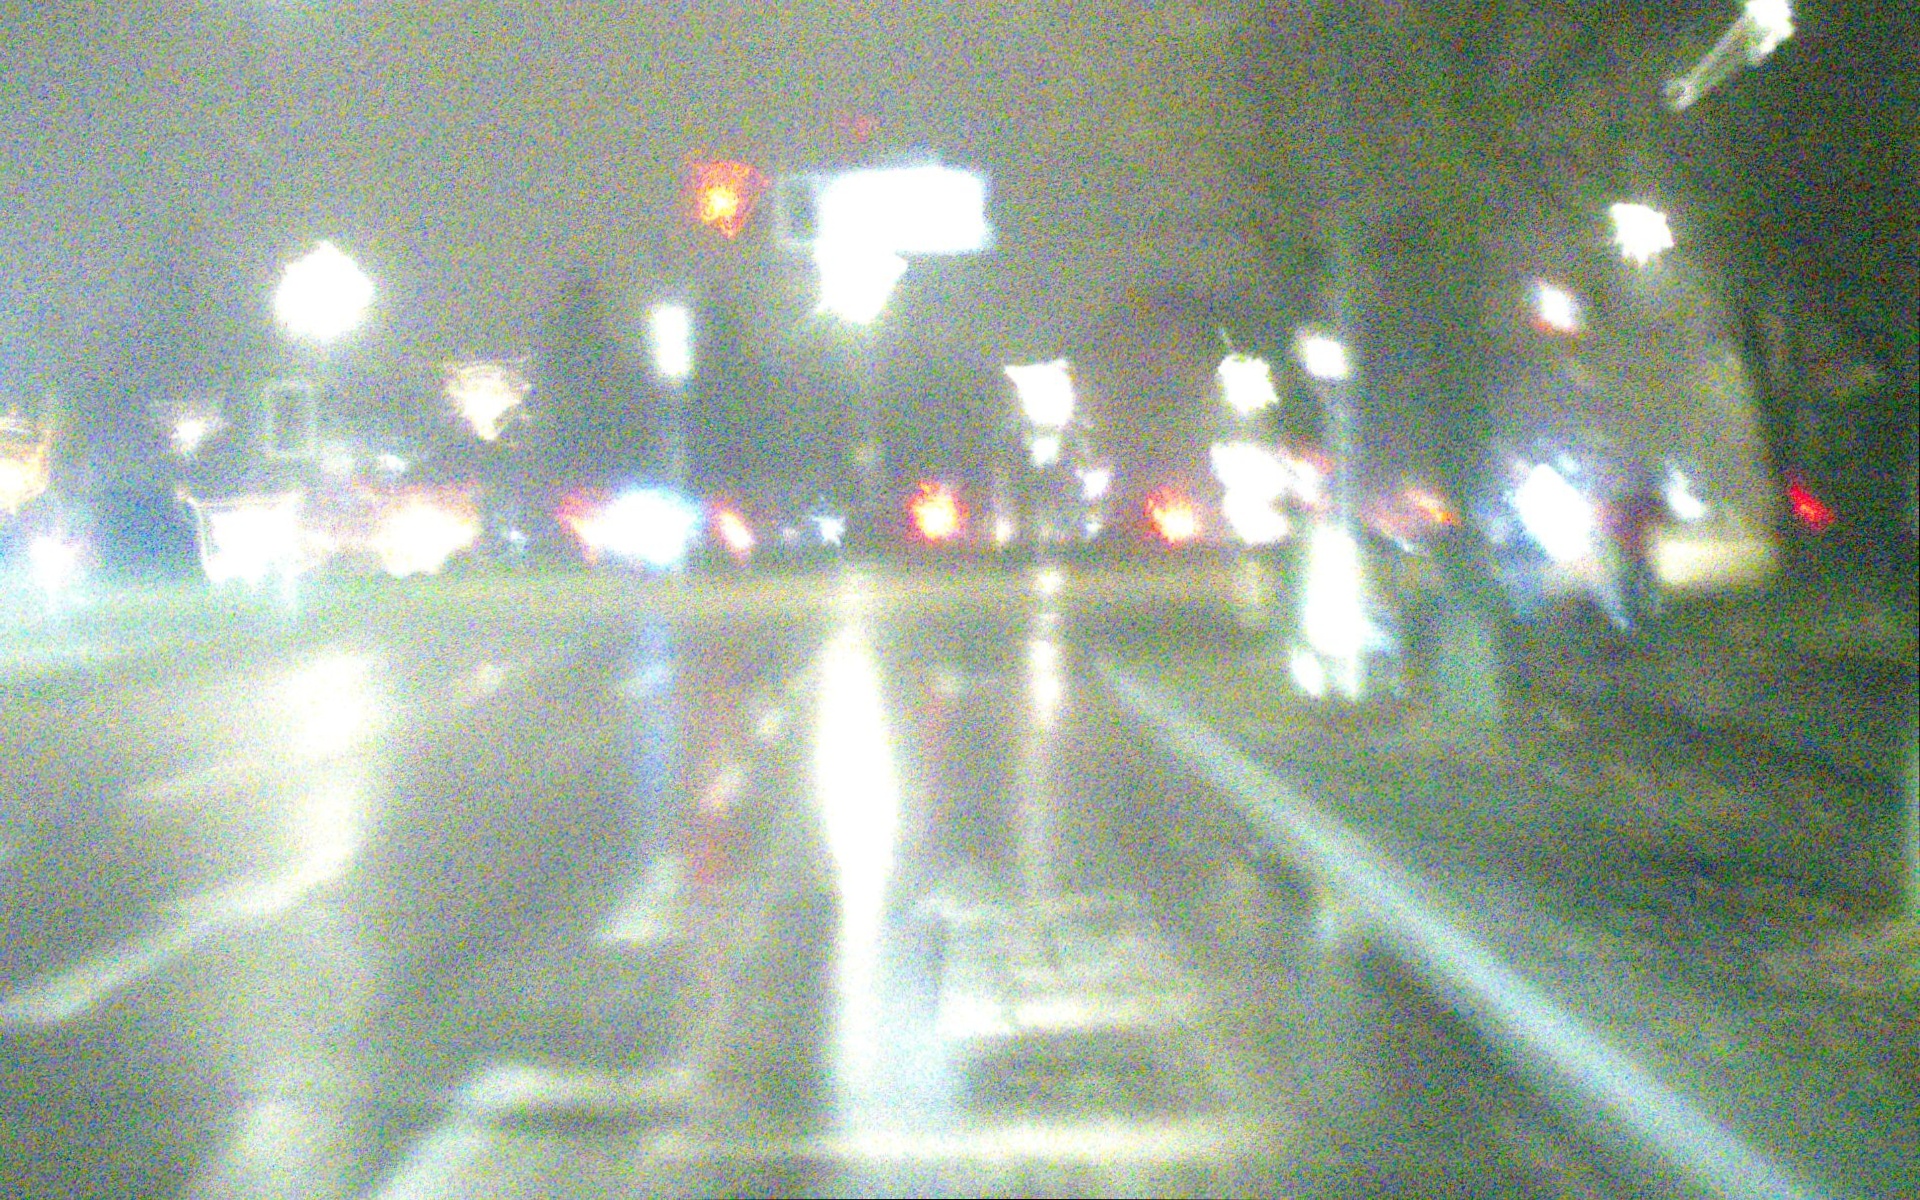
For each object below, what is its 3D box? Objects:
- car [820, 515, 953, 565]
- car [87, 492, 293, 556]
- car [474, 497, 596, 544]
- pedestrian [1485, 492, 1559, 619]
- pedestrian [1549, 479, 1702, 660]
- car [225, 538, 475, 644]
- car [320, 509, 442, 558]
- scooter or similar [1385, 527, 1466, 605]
[{"bbox_3d":[-2.441,-1.989,114.031,3.992,1.610,1.834,1,2,26],"label":"car"},{"bbox_3d":[-25.490,-2.509,113.846,6.292,2.082,2.516,0,2,-25],"label":"car"},{"bbox_3d":[-14.330,-2.680,115.930,3.951,1.573,1.737,0,1,-2],"label":"car"},{"bbox_3d":[6.670,-0.534,40.847,0.726,1.480,0.836,0,1,-1],"label":"pedestrian"},{"bbox_3d":[6.725,-0.323,34.842,1.227,1.787,1.490,0,1,-1],"label":"pedestrian"},{"bbox_3d":[-11.909,-0.193,67.104,4.541,2.007,2.001,0,2,-20],"label":"car"},{"bbox_3d":[-19.507,-2.236,115.931,3.986,1.610,1.837,0,1,-7],"label":"car"},{"bbox_3d":[6.740,-0.490,49.757,1.102,1.094,0.317,-1,0,28],"label":"scooter or similar"}]
